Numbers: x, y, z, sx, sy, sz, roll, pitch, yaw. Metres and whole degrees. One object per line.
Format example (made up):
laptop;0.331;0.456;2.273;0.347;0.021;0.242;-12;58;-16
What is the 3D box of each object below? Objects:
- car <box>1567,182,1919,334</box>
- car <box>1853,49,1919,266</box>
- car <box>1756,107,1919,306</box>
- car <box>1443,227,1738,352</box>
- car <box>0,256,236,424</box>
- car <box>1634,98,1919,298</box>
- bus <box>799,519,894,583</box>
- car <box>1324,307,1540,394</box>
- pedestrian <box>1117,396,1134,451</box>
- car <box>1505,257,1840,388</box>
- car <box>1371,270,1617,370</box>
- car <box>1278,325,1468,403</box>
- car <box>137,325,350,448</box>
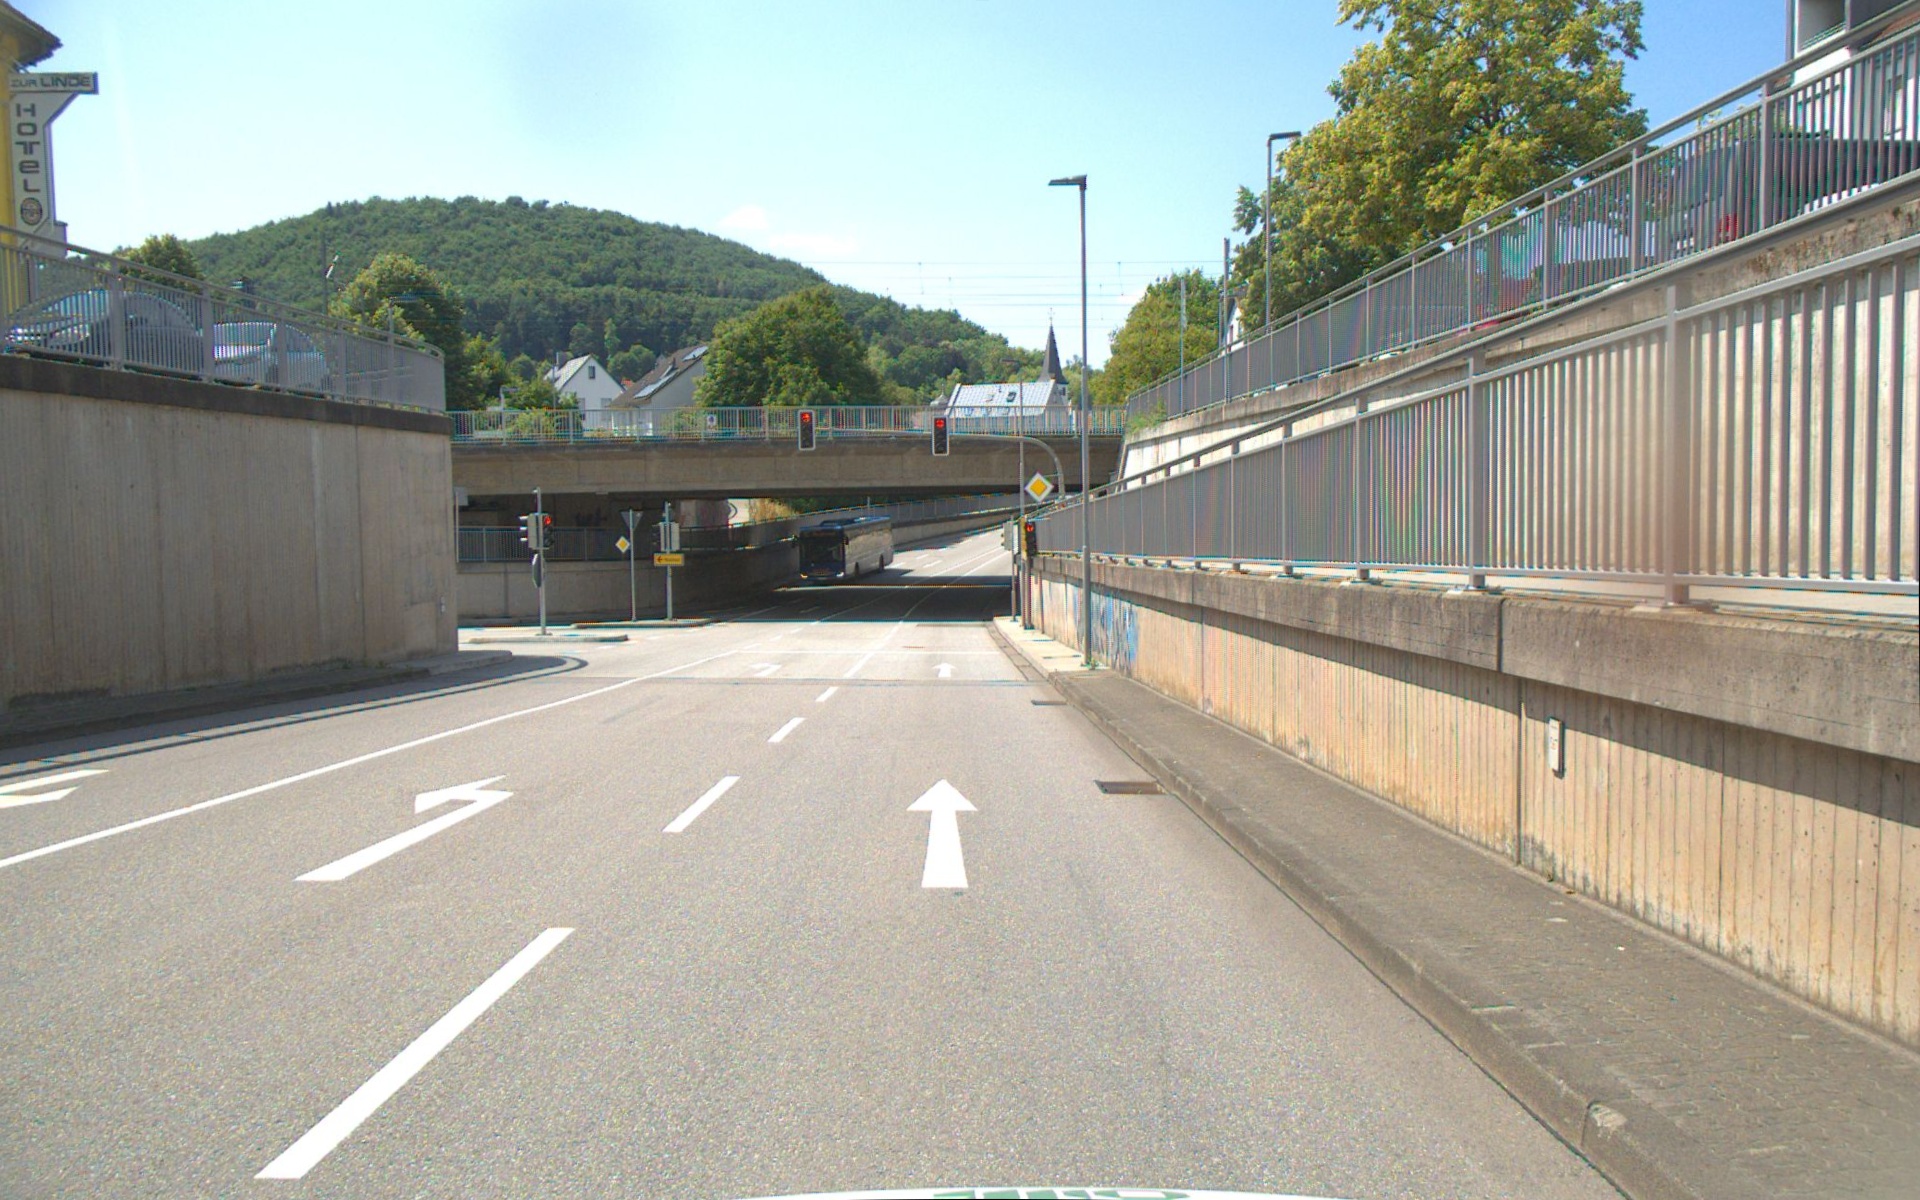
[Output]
car;9.803;-4.208;20.545;3.904;1.512;1.770;0;0;2
car;9.551;-3.598;13.190;3.904;1.512;1.770;0;0;2
car;10.011;-3.731;15.860;3.904;1.512;1.770;0;0;2
car;9.666;-4.770;25.581;3.904;1.594;1.770;0;0;2
car;-11.293;-3.319;21.782;1.786;1.735;4.222;0;3;-3
car;9.800;-4.420;18.398;3.904;1.801;1.770;0;0;2
bus;-6.081;-2.818;91.283;2.526;3.227;12.391;0;3;9
car;9.520;-5.036;33.576;3.904;1.512;1.770;0;0;2
pedestrian;6.543;-6.980;65.388;0.529;2.117;0.534;-1;1;-7
car;9.806;-3.817;22.977;3.904;1.512;1.770;0;0;2
car;9.584;-5.031;29.904;3.904;1.512;1.770;0;0;2
car;9.319;-5.338;37.552;3.904;1.512;1.770;0;0;2
car;-11.656;-3.440;27.222;1.864;1.696;3.999;0;3;-2
